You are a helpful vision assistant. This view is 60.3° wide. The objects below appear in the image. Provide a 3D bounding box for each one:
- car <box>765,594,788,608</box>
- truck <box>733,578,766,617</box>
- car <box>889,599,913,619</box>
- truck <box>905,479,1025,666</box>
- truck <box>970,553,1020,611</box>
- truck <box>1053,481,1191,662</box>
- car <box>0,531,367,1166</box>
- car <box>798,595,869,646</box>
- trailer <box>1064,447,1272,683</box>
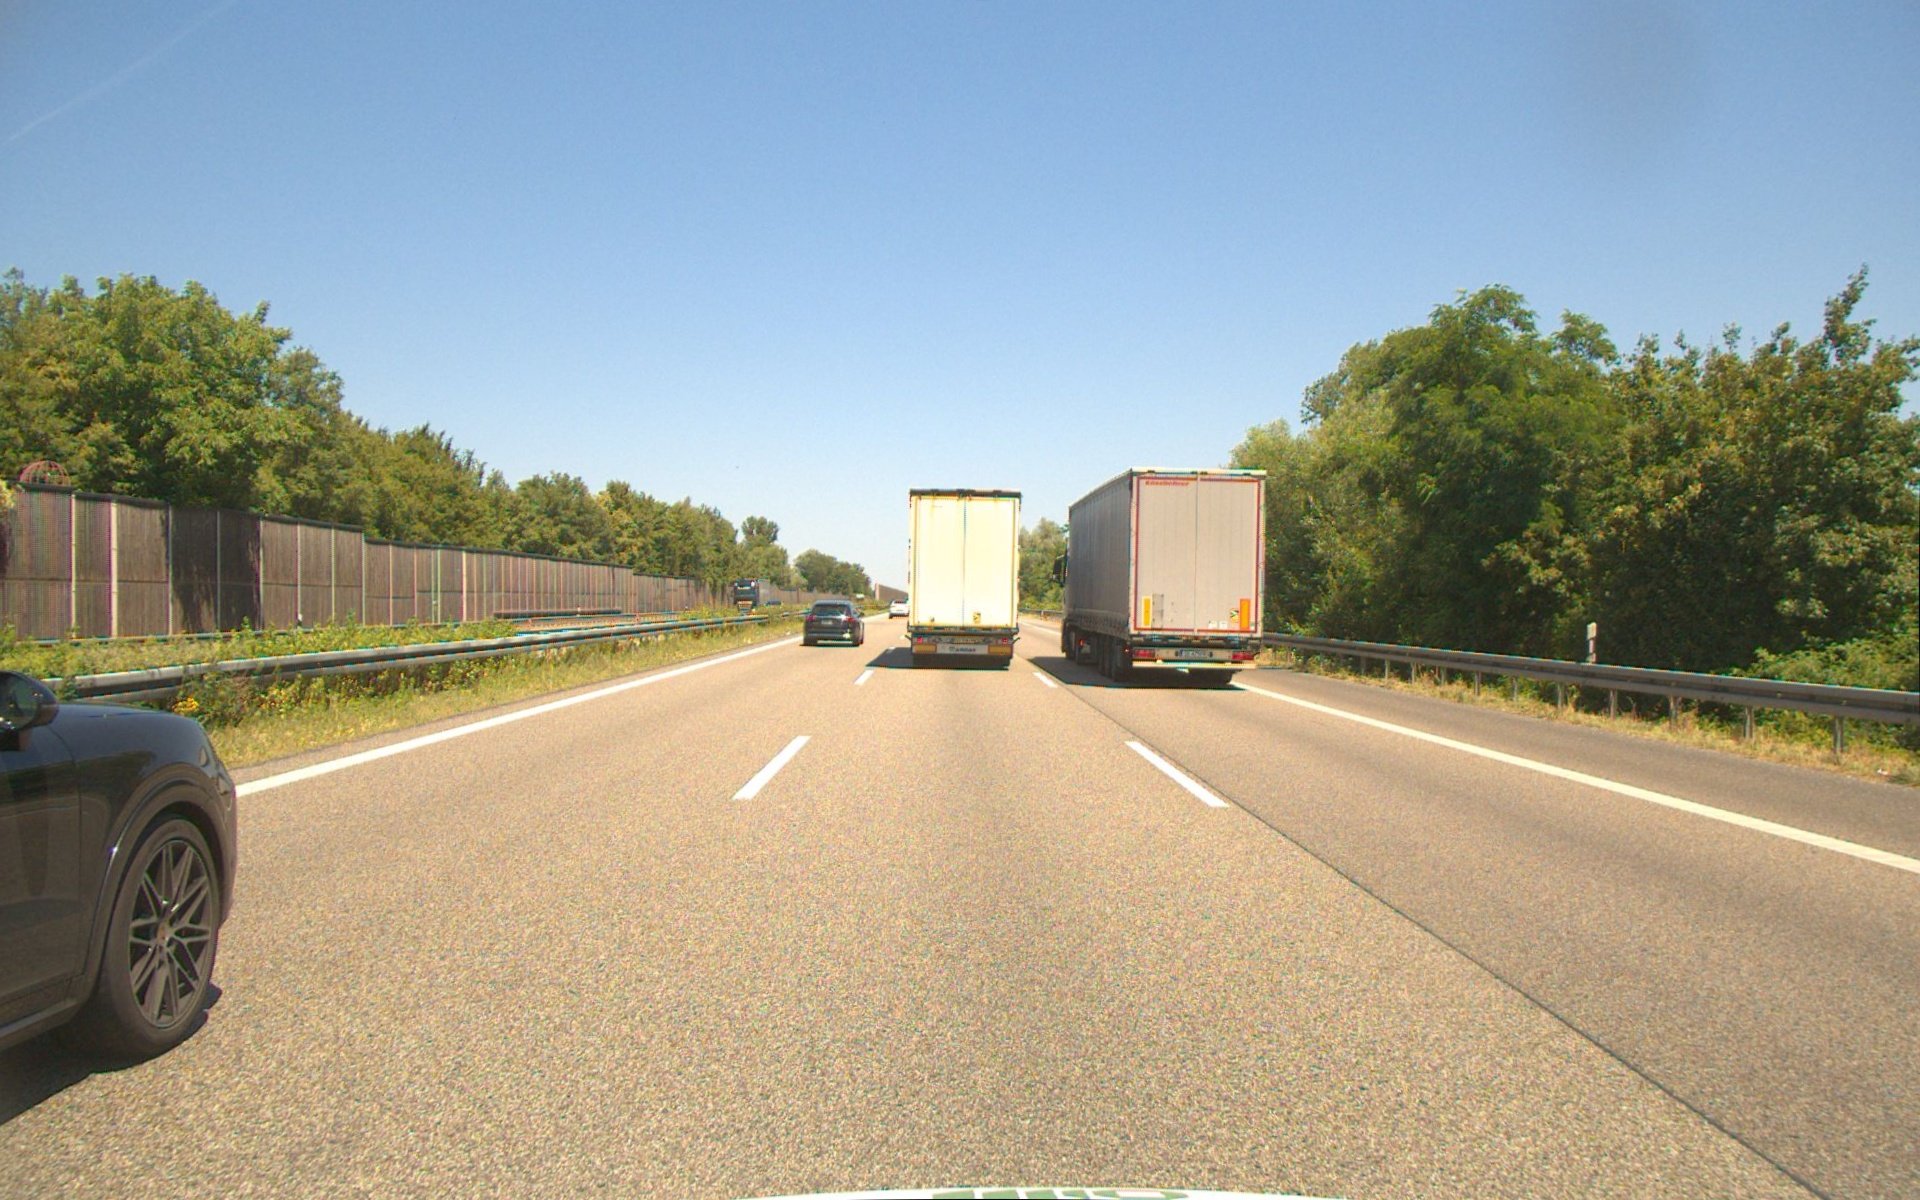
[{"bbox_3d":[-18.578,0.094,167.810,1.920,1.458,4.878,-1,0,-2],"label":"car"},{"bbox_3d":[-22.776,-0.262,179.220,2.672,4.157,7.836,-1,0,-1],"label":"truck"},{"bbox_3d":[-4.720,0.741,132.777,1.817,1.512,3.999,-2,0,-1],"label":"car"},{"bbox_3d":[-0.033,-0.640,43.807,2.652,4.157,13.470,-1,0,-1],"label":"truck"},{"bbox_3d":[2.696,-1.388,131.932,3.306,4.379,11.445,1,0,-2],"label":"truck"},{"bbox_3d":[4.091,-0.691,43.491,2.637,4.289,7.836,-1,0,-1],"label":"truck"},{"bbox_3d":[-3.502,0.653,4.122,2.002,1.653,5.771,0,0,-1],"label":"car"},{"bbox_3d":[-4.230,0.654,56.067,1.903,1.533,5.821,-2,0,0],"label":"car"},{"bbox_3d":[4.228,-0.667,36.947,2.648,4.289,13.208,-1,0,-1],"label":"trailer"}]
